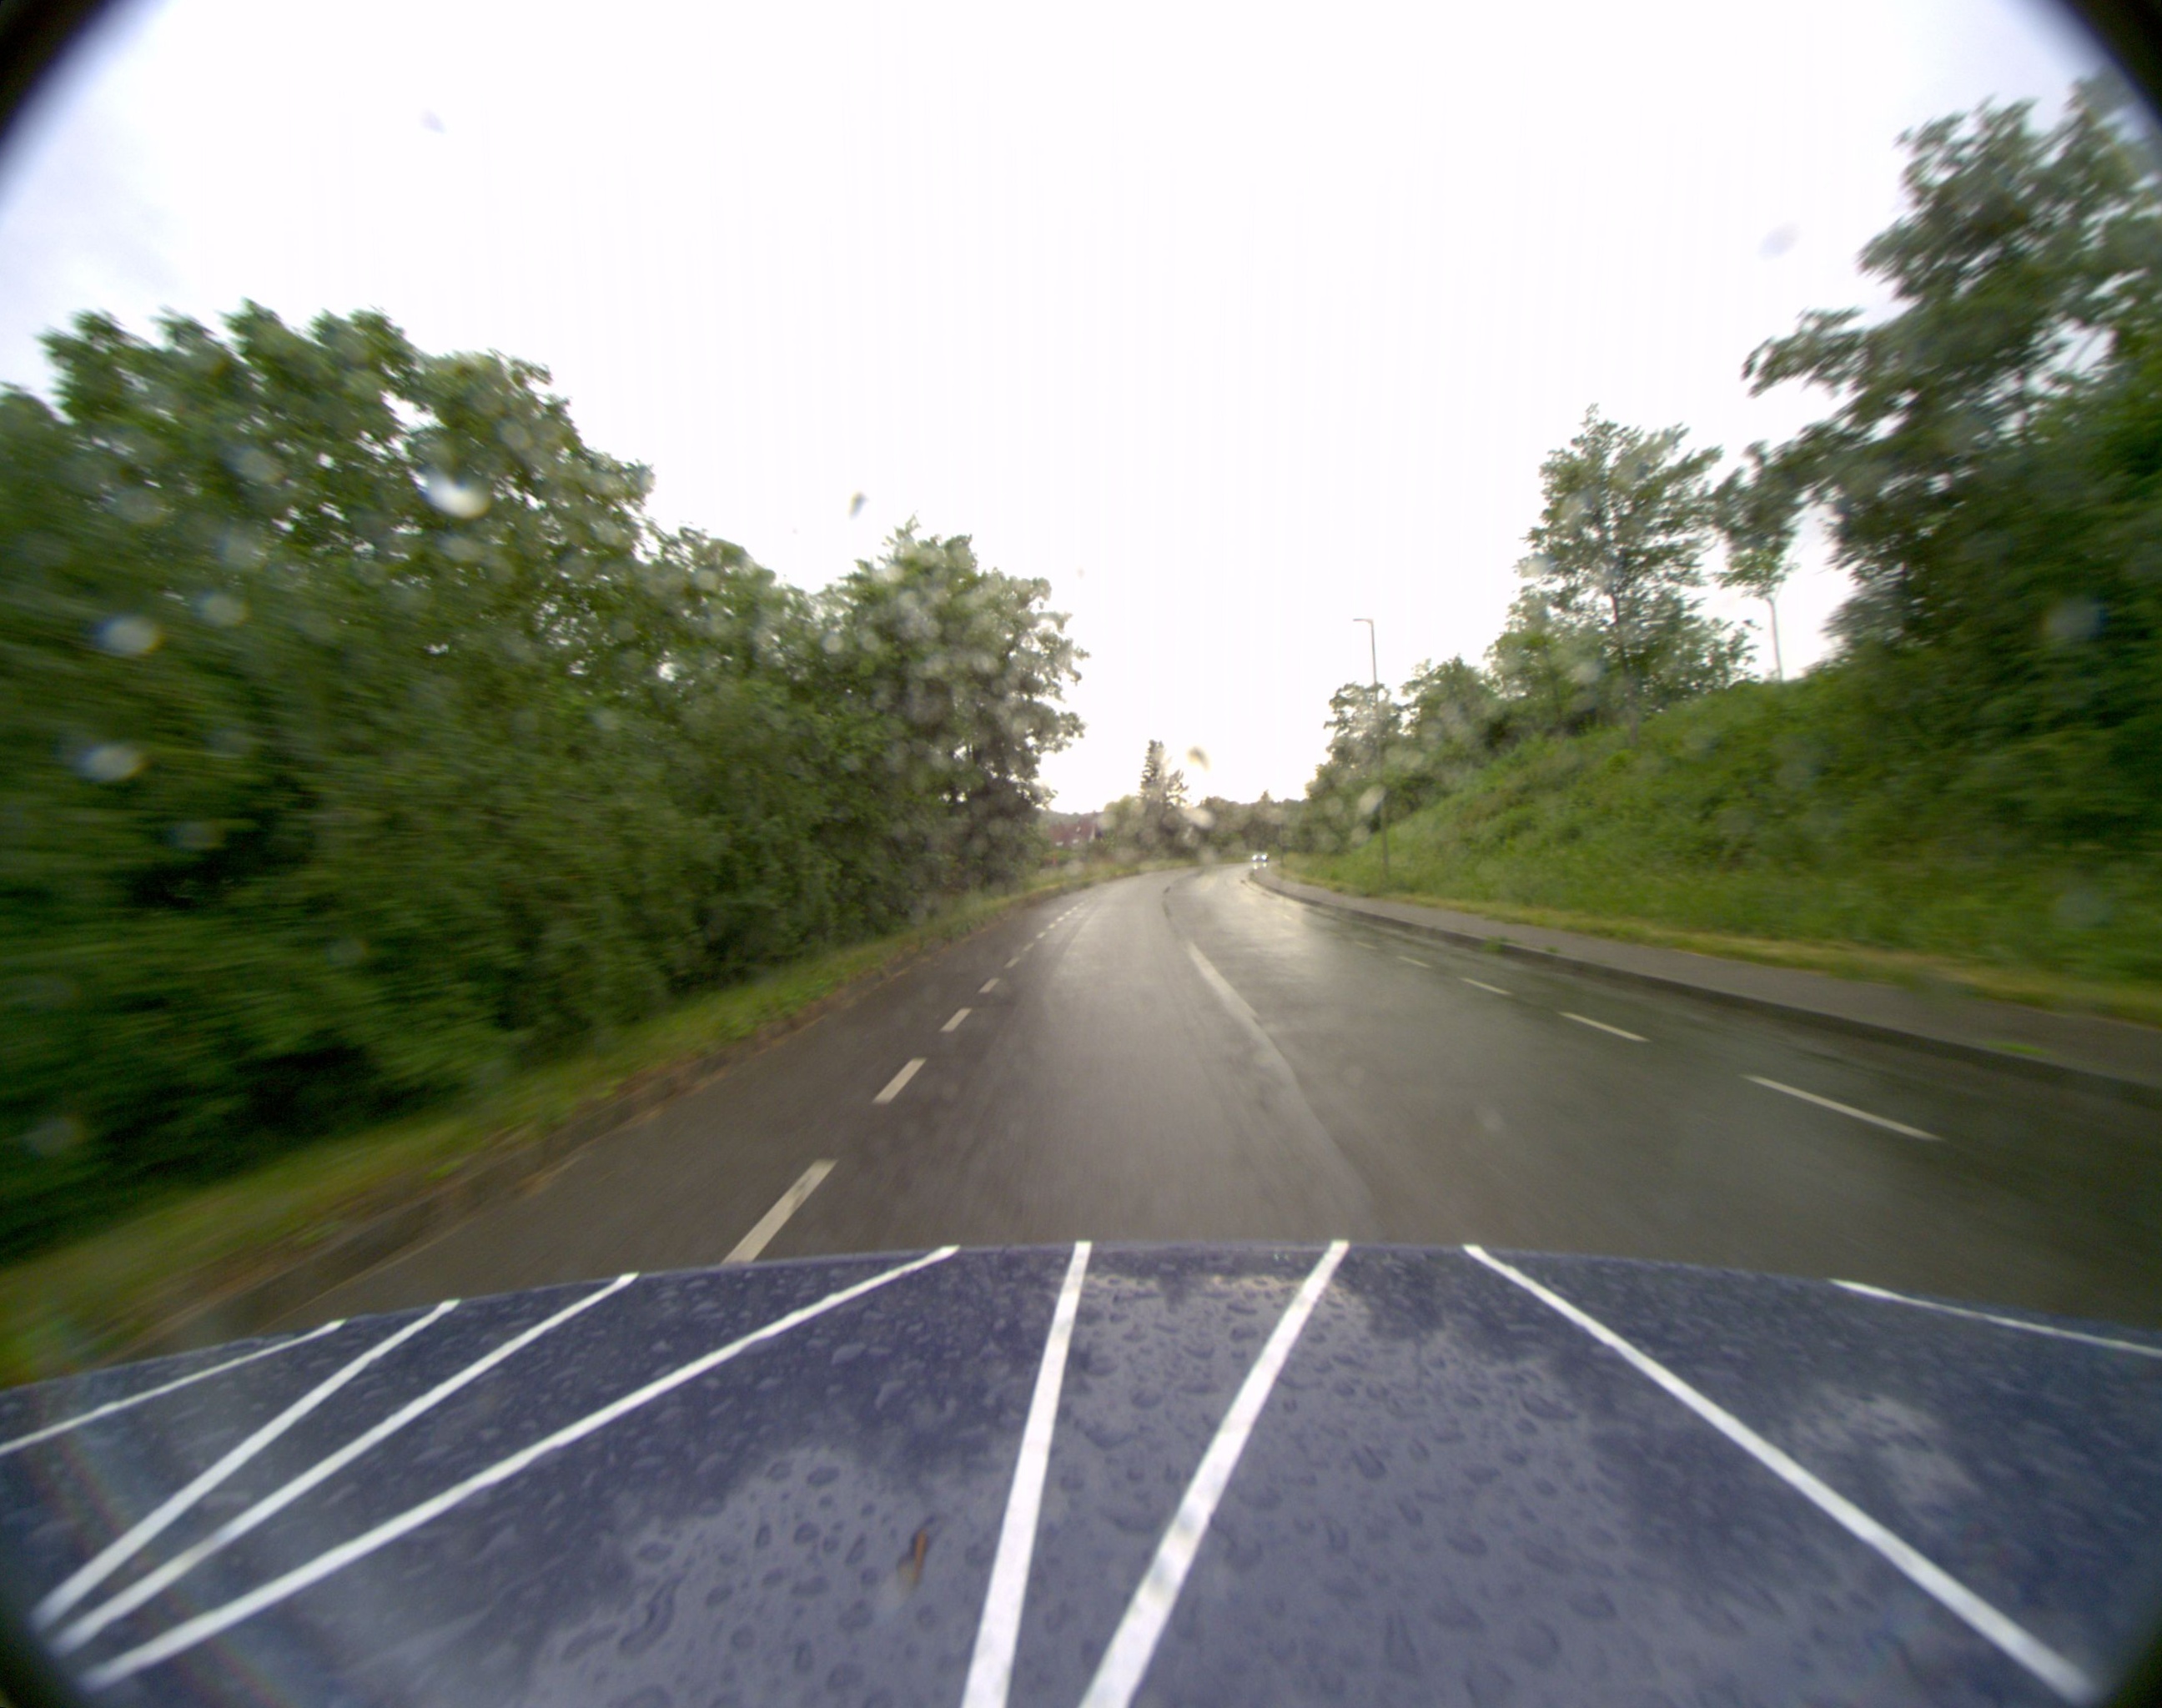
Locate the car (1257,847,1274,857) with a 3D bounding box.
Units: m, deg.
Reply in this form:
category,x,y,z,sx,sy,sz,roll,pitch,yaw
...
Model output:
category,x,y,z,sx,sy,sz,roll,pitch,yaw
car,28.360,-0.311,116.830,1.876,1.596,4.006,0,1,22
